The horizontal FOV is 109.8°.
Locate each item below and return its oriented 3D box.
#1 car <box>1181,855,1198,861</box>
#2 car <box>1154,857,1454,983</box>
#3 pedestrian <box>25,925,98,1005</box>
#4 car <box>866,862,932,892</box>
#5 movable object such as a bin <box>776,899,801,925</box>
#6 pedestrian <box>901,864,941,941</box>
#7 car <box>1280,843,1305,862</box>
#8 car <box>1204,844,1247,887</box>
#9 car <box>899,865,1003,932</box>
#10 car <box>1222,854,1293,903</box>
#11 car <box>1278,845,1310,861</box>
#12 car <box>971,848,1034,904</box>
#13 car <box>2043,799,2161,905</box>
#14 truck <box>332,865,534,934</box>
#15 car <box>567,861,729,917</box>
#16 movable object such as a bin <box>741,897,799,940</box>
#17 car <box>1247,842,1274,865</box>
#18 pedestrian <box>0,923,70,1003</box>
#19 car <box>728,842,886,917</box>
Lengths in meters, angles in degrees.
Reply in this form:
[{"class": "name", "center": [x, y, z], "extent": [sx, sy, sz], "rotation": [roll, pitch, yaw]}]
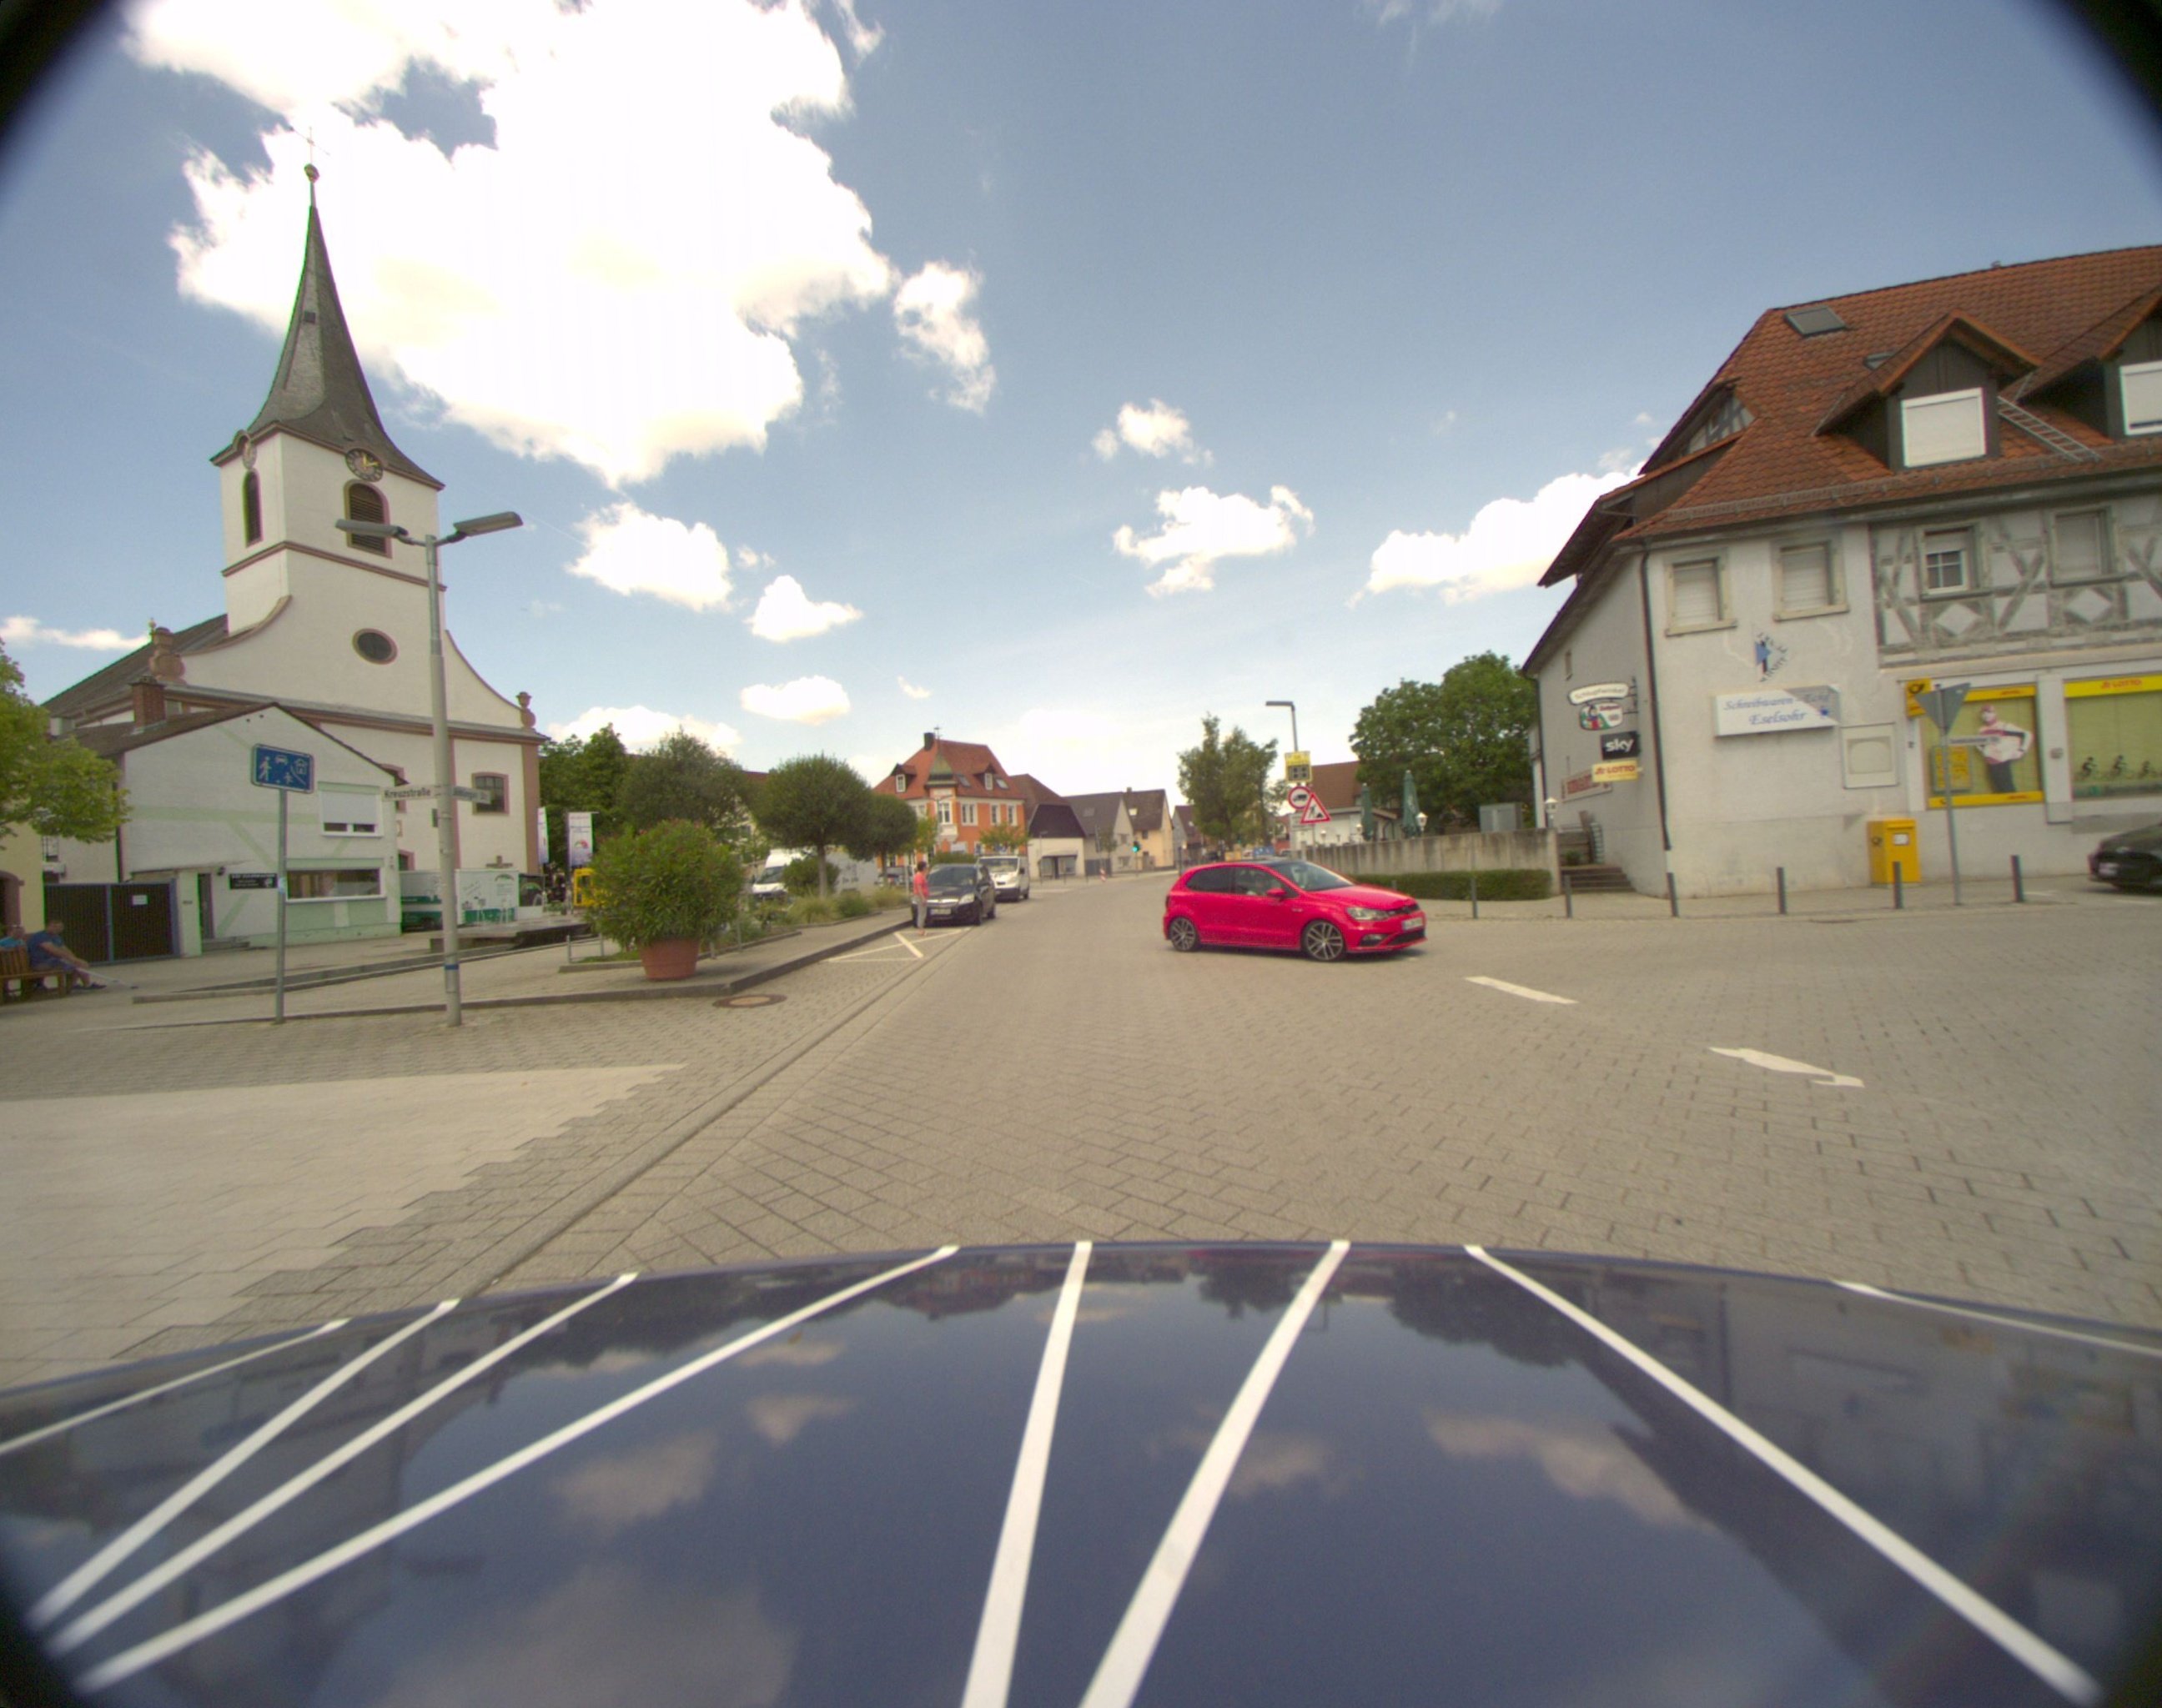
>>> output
[{"class": "car", "center": [20.780, 0.853, 145.770], "extent": [1.804, 1.053, 3.996], "rotation": [-3, 0, -11]}, {"class": "car", "center": [3.057, 0.853, 11.122], "extent": [1.786, 1.403, 3.878], "rotation": [-3, 0, -36]}, {"class": "pedestrian", "center": [-17.790, 1.915, 13.273], "extent": [0.612, 1.277, 0.674], "rotation": [-1, 1, 41]}, {"class": "car", "center": [-14.116, 1.733, 59.164], "extent": [1.995, 2.001, 5.503], "rotation": [-3, -1, 23]}, {"class": "movable object such as a bin", "center": [-8.936, 1.773, 23.213], "extent": [0.566, 0.728, 0.391], "rotation": [-3, 0, 5]}, {"class": "pedestrian", "center": [-3.510, 1.056, 16.704], "extent": [0.640, 1.619, 0.620], "rotation": [-3, 0, 4]}, {"class": "car", "center": [24.240, -0.207, 87.069], "extent": [1.660, 2.002, 4.007], "rotation": [-3, 0, 30]}, {"class": "car", "center": [7.490, 0.579, 39.656], "extent": [1.990, 1.978, 5.048], "rotation": [-3, -1, 10]}, {"class": "car", "center": [-3.321, 1.092, 20.285], "extent": [1.773, 1.555, 4.419], "rotation": [-1, 0, 3]}, {"class": "car", "center": [5.899, 0.783, 25.824], "extent": [1.672, 1.466, 3.964], "rotation": [-3, 0, 4]}, {"class": "car", "center": [21.469, -0.113, 76.509], "extent": [1.734, 1.482, 4.508], "rotation": [-3, 0, 33]}, {"class": "car", "center": [-3.272, 0.888, 32.649], "extent": [1.947, 2.164, 5.102], "rotation": [-1, 0, 2]}, {"class": "car", "center": [17.504, -0.139, 11.142], "extent": [3.947, 1.509, 1.775], "rotation": [-3, 0, 12]}, {"class": "truck", "center": [-27.430, 1.893, 32.259], "extent": [6.813, 2.483, 2.960], "rotation": [-3, 0, 13]}, {"class": "car", "center": [-22.819, 1.755, 40.300], "extent": [6.978, 2.462, 2.647], "rotation": [-3, 0, -42]}, {"class": "movable object such as a bin", "center": [-7.336, 1.502, 17.989], "extent": [0.736, 0.861, 1.436], "rotation": [-4, 0, -2]}, {"class": "car", "center": [18.382, -0.037, 77.723], "extent": [1.889, 2.173, 5.038], "rotation": [-3, 0, 22]}, {"class": "pedestrian", "center": [-18.512, 1.906, 13.368], "extent": [0.536, 1.277, 0.791], "rotation": [-1, 1, 41]}, {"class": "car", "center": [-12.117, 1.014, 34.434], "extent": [2.756, 2.946, 7.122], "rotation": [-2, 1, 19]}]
